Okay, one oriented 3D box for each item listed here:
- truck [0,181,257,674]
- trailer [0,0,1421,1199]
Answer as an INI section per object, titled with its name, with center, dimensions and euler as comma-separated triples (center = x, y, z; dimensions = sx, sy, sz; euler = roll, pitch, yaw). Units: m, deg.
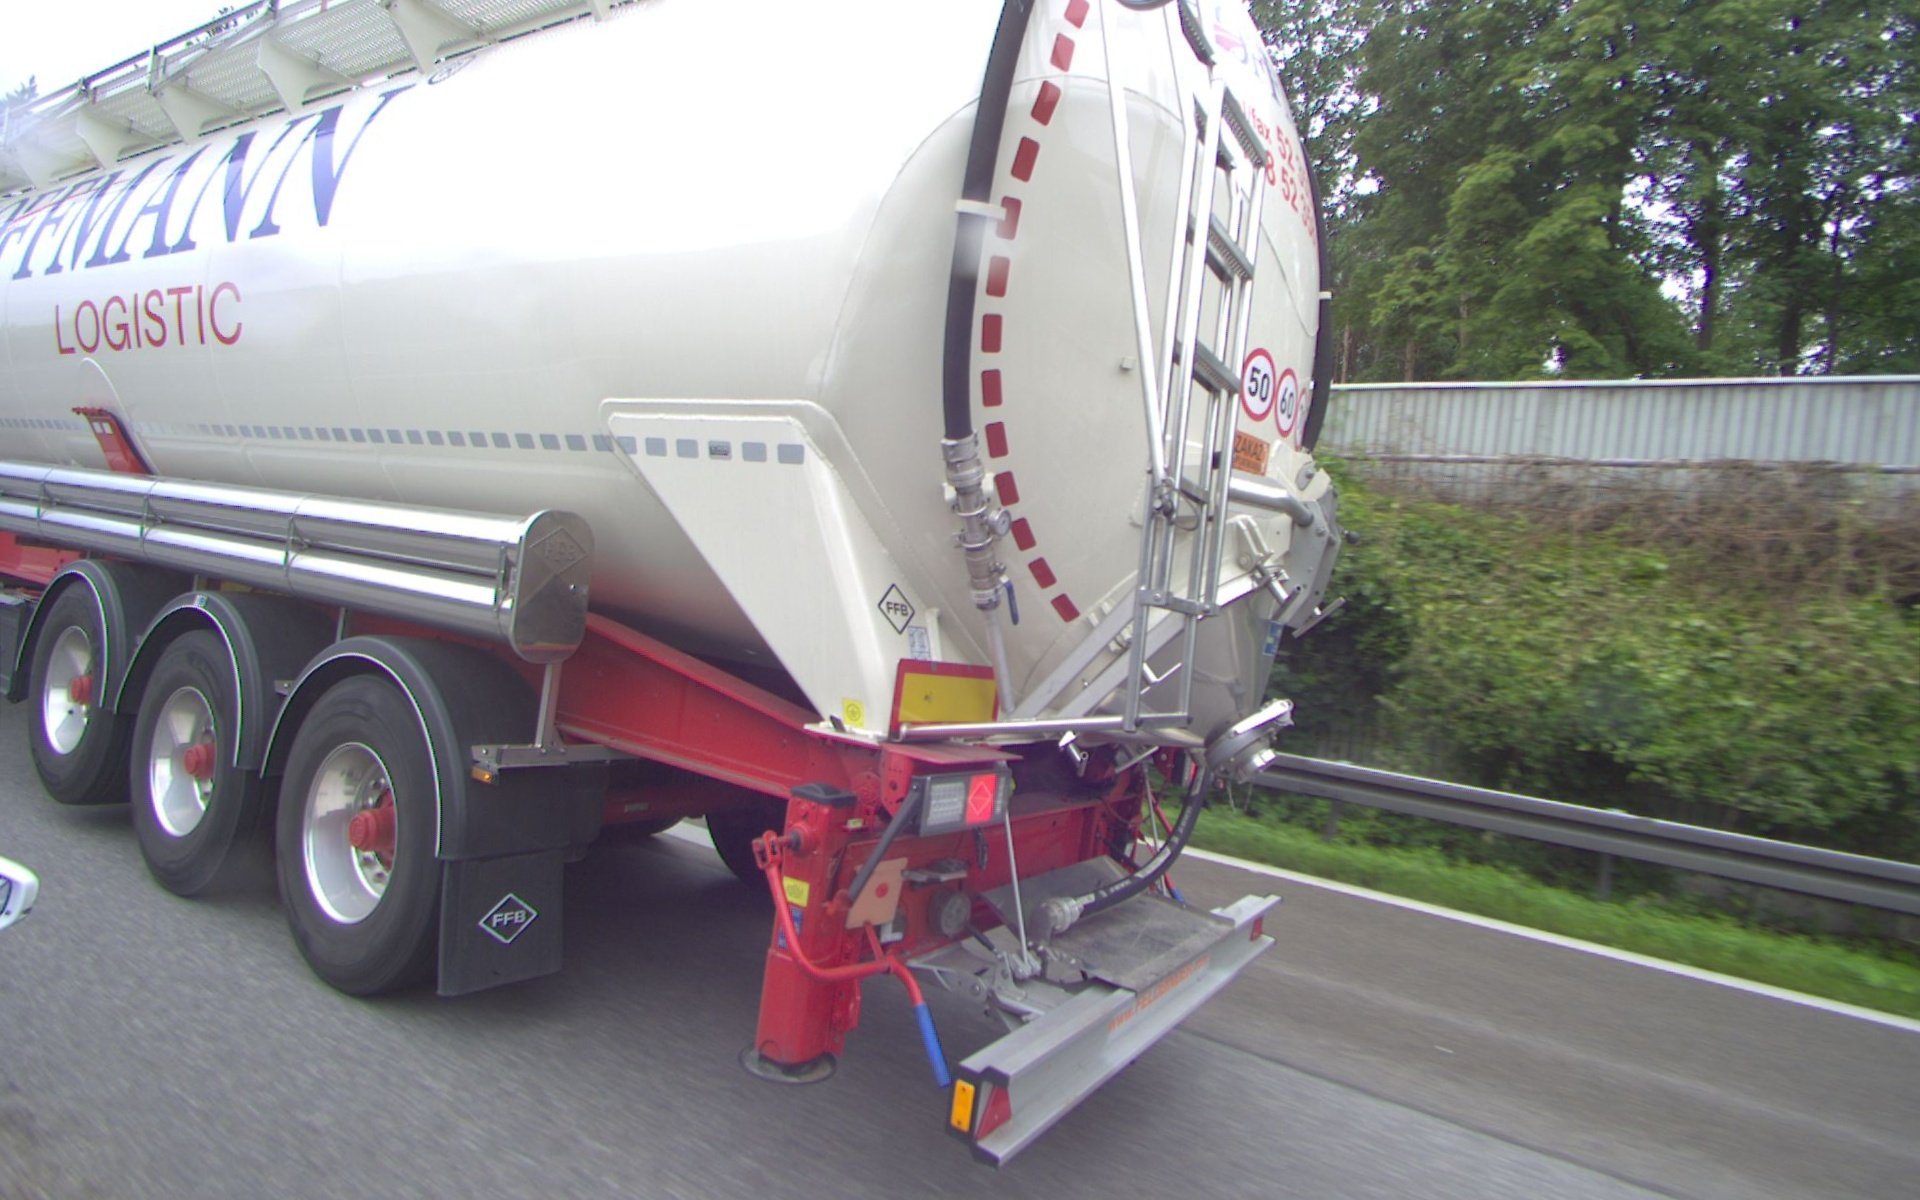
[truck]
center = -10.405, -1.672, 10.249
dimensions = 6.448, 3.960, 2.698
euler = 7, 0, 32
[trailer]
center = -4.451, -0.969, 6.446
dimensions = 12.912, 3.987, 2.672
euler = 7, 0, 32
